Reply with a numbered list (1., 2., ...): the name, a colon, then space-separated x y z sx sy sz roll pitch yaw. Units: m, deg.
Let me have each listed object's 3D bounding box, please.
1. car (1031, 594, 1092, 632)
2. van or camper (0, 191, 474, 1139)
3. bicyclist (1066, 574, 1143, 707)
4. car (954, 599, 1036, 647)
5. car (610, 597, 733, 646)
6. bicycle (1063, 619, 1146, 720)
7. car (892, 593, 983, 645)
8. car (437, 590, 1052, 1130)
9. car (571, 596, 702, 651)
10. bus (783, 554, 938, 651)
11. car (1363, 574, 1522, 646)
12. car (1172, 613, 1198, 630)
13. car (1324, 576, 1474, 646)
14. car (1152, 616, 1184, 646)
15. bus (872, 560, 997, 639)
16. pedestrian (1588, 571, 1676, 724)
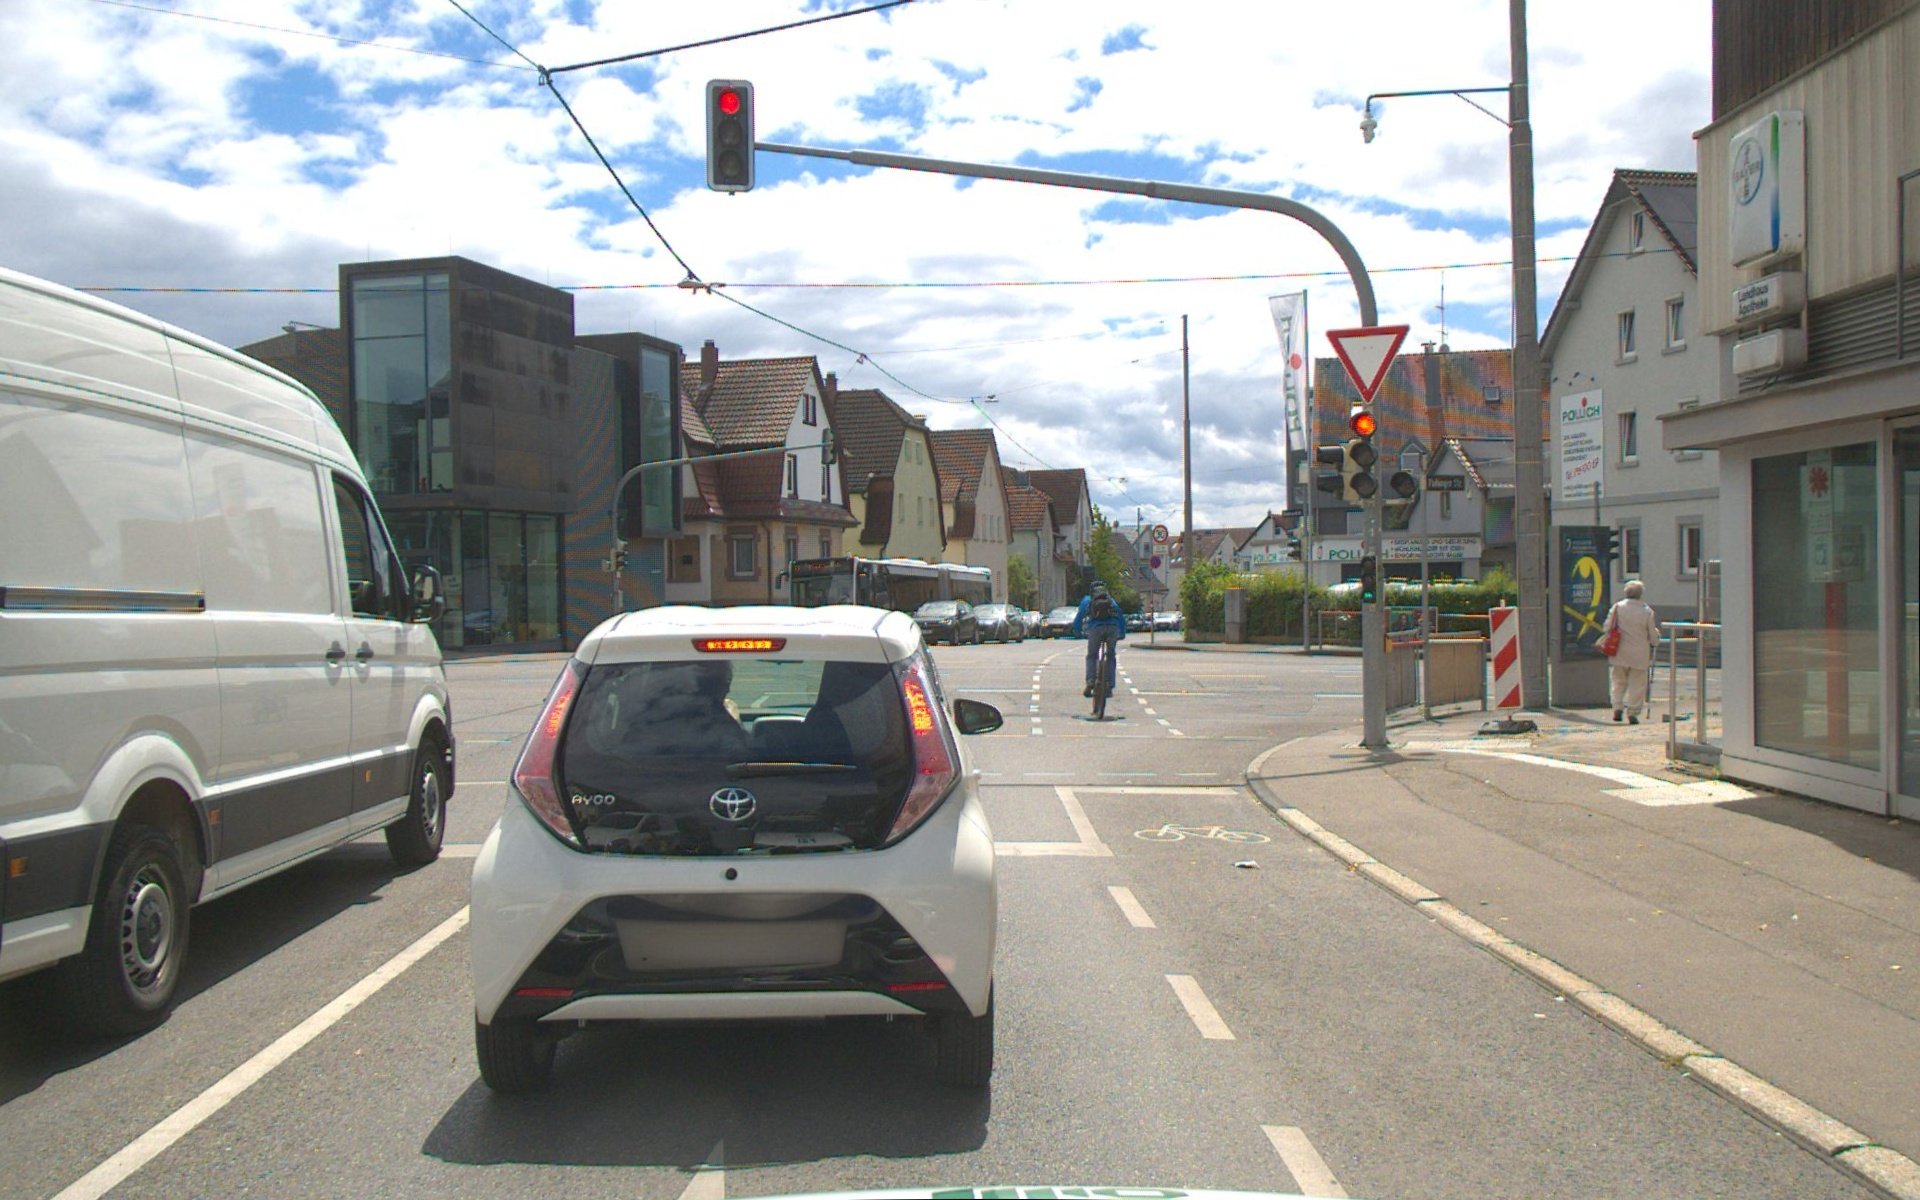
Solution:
1. car: 4.648 0.561 75.212 1.951 1.668 4.002 0 0 16
2. van or camper: -3.848 0.177 7.113 2.065 2.632 5.641 -2 0 -3
3. bicyclist: 1.860 0.515 21.423 0.823 1.642 1.083 2 0 -1
4. car: 1.312 0.803 60.460 1.951 1.668 4.186 0 0 16
5. car: -10.469 0.763 60.106 3.902 1.713 2.002 -1 0 13
6. bicycle: 1.848 0.869 21.486 0.815 1.184 2.191 2 0 -1
7. car: -0.702 0.595 55.260 1.951 1.668 4.002 0 0 16
8. car: -0.680 0.708 6.387 1.703 1.486 3.530 0 0 -3
9. car: -11.181 0.777 57.217 3.902 1.668 2.002 3 1 13
10. bus: -3.294 0.048 57.974 2.719 3.113 9.198 0 0 15
11. car: 13.743 0.285 47.214 3.914 1.982 1.995 0 0 -10
12. car: 22.242 2.102 163.072 1.951 1.668 4.002 0 0 16
13. car: 13.127 0.319 49.571 3.913 2.049 1.996 0 0 -9
14. car: 15.255 2.236 121.064 1.951 2.049 4.003 0 0 12
15. bus: -0.883 -0.031 67.108 2.719 2.965 9.198 0 0 15
16. pedestrian: 7.492 0.511 18.485 0.816 1.666 0.874 0 0 16
